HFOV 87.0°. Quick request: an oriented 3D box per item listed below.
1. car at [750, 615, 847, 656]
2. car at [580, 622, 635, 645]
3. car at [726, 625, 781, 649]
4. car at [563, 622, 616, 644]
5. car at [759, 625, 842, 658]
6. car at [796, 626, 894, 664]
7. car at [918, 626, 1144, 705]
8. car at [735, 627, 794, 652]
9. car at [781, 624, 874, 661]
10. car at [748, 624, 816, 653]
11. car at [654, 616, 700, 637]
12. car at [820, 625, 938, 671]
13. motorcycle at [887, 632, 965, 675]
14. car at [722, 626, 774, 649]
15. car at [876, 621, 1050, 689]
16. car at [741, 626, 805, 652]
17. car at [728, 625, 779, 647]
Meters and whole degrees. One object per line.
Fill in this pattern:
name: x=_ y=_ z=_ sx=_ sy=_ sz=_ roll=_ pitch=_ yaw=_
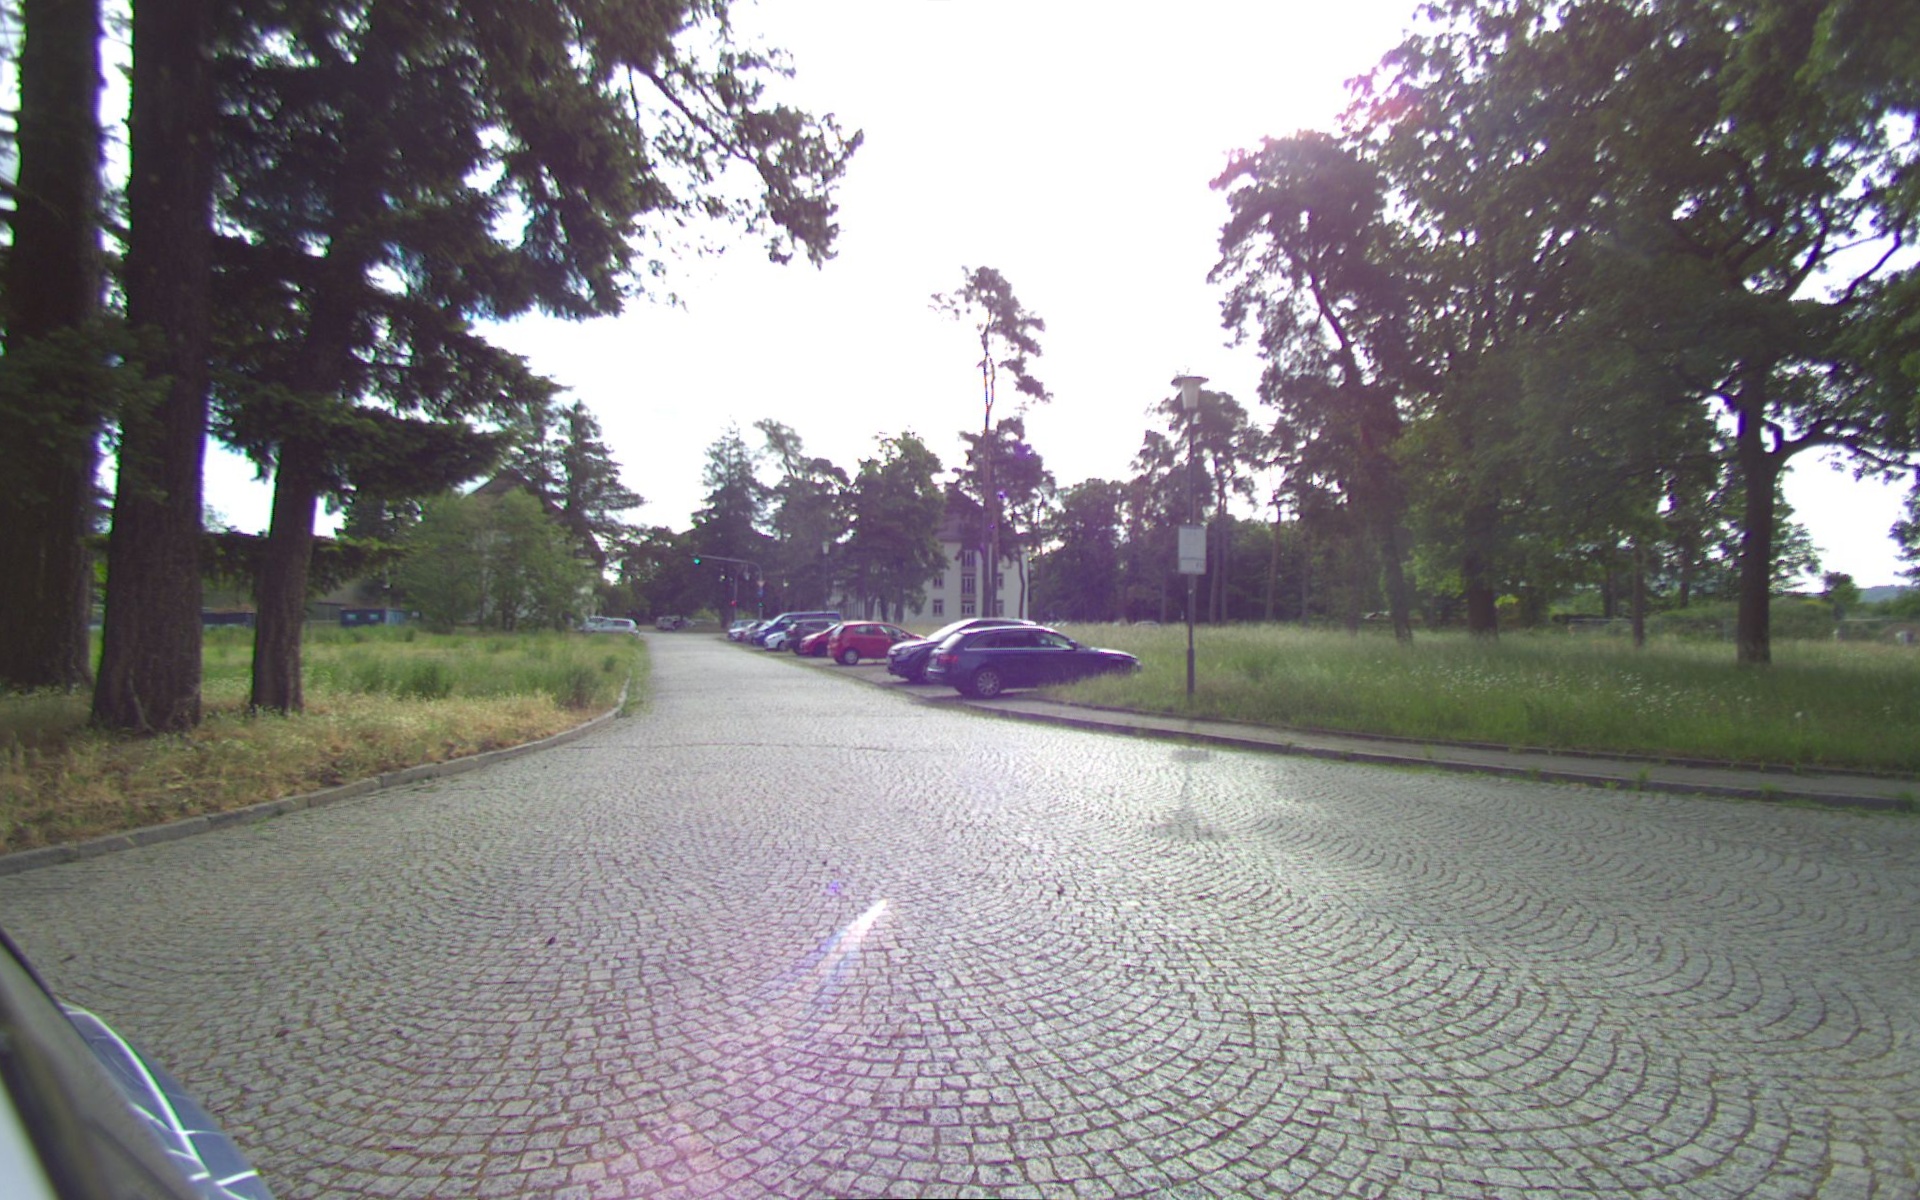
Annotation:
car: x=-8.674 y=1.881 z=54.156 sx=4.753 sy=1.880 sz=2.168 roll=-2 pitch=0 yaw=-19
car: x=-25.399 y=2.412 z=72.856 sx=3.667 sy=1.448 sz=1.632 roll=-2 pitch=0 yaw=-21
car: x=-14.597 y=2.611 z=71.539 sx=3.512 sy=1.498 sz=1.608 roll=-2 pitch=0 yaw=-25
car: x=-28.390 y=2.510 z=77.639 sx=3.667 sy=1.448 sz=1.632 roll=-2 pitch=0 yaw=-25
car: x=-8.139 y=2.095 z=51.552 sx=3.865 sy=1.403 sz=1.748 roll=-2 pitch=0 yaw=-19
car: x=-4.897 y=1.880 z=43.059 sx=3.886 sy=1.532 sz=1.712 roll=0 pitch=-2 yaw=-17
car: x=1.448 y=1.314 z=21.172 sx=4.371 sy=1.491 sz=1.686 roll=0 pitch=-2 yaw=-14
car: x=-13.011 y=2.600 z=67.438 sx=3.511 sy=1.427 sz=1.644 roll=-2 pitch=0 yaw=-24
car: x=-5.978 y=1.909 z=45.551 sx=3.851 sy=1.616 sz=1.827 roll=1 pitch=-2 yaw=-20
car: x=-10.453 y=2.266 z=59.465 sx=3.538 sy=1.465 sz=1.693 roll=-2 pitch=0 yaw=-24
car: x=-39.150 y=3.672 z=140.063 sx=5.699 sy=2.581 sz=2.779 roll=-2 pitch=0 yaw=-23
car: x=-2.876 y=1.661 z=35.644 sx=3.830 sy=1.490 sz=1.677 roll=-1 pitch=-1 yaw=-18
motorcycle: x=-1.061 y=1.656 z=31.579 sx=2.323 sy=1.298 sz=0.746 roll=0 pitch=-2 yaw=-17
car: x=-15.556 y=2.706 z=74.186 sx=3.512 sy=1.469 sz=1.632 roll=-2 pitch=0 yaw=-20
car: x=0.060 y=1.345 z=25.755 sx=4.080 sy=1.585 sz=1.796 roll=0 pitch=0 yaw=-18
car: x=-11.441 y=2.358 z=61.808 sx=3.538 sy=1.431 sz=1.624 roll=-1 pitch=0 yaw=-24
car: x=-15.696 y=2.710 z=76.839 sx=3.396 sy=1.442 sz=1.633 roll=-2 pitch=0 yaw=-27
